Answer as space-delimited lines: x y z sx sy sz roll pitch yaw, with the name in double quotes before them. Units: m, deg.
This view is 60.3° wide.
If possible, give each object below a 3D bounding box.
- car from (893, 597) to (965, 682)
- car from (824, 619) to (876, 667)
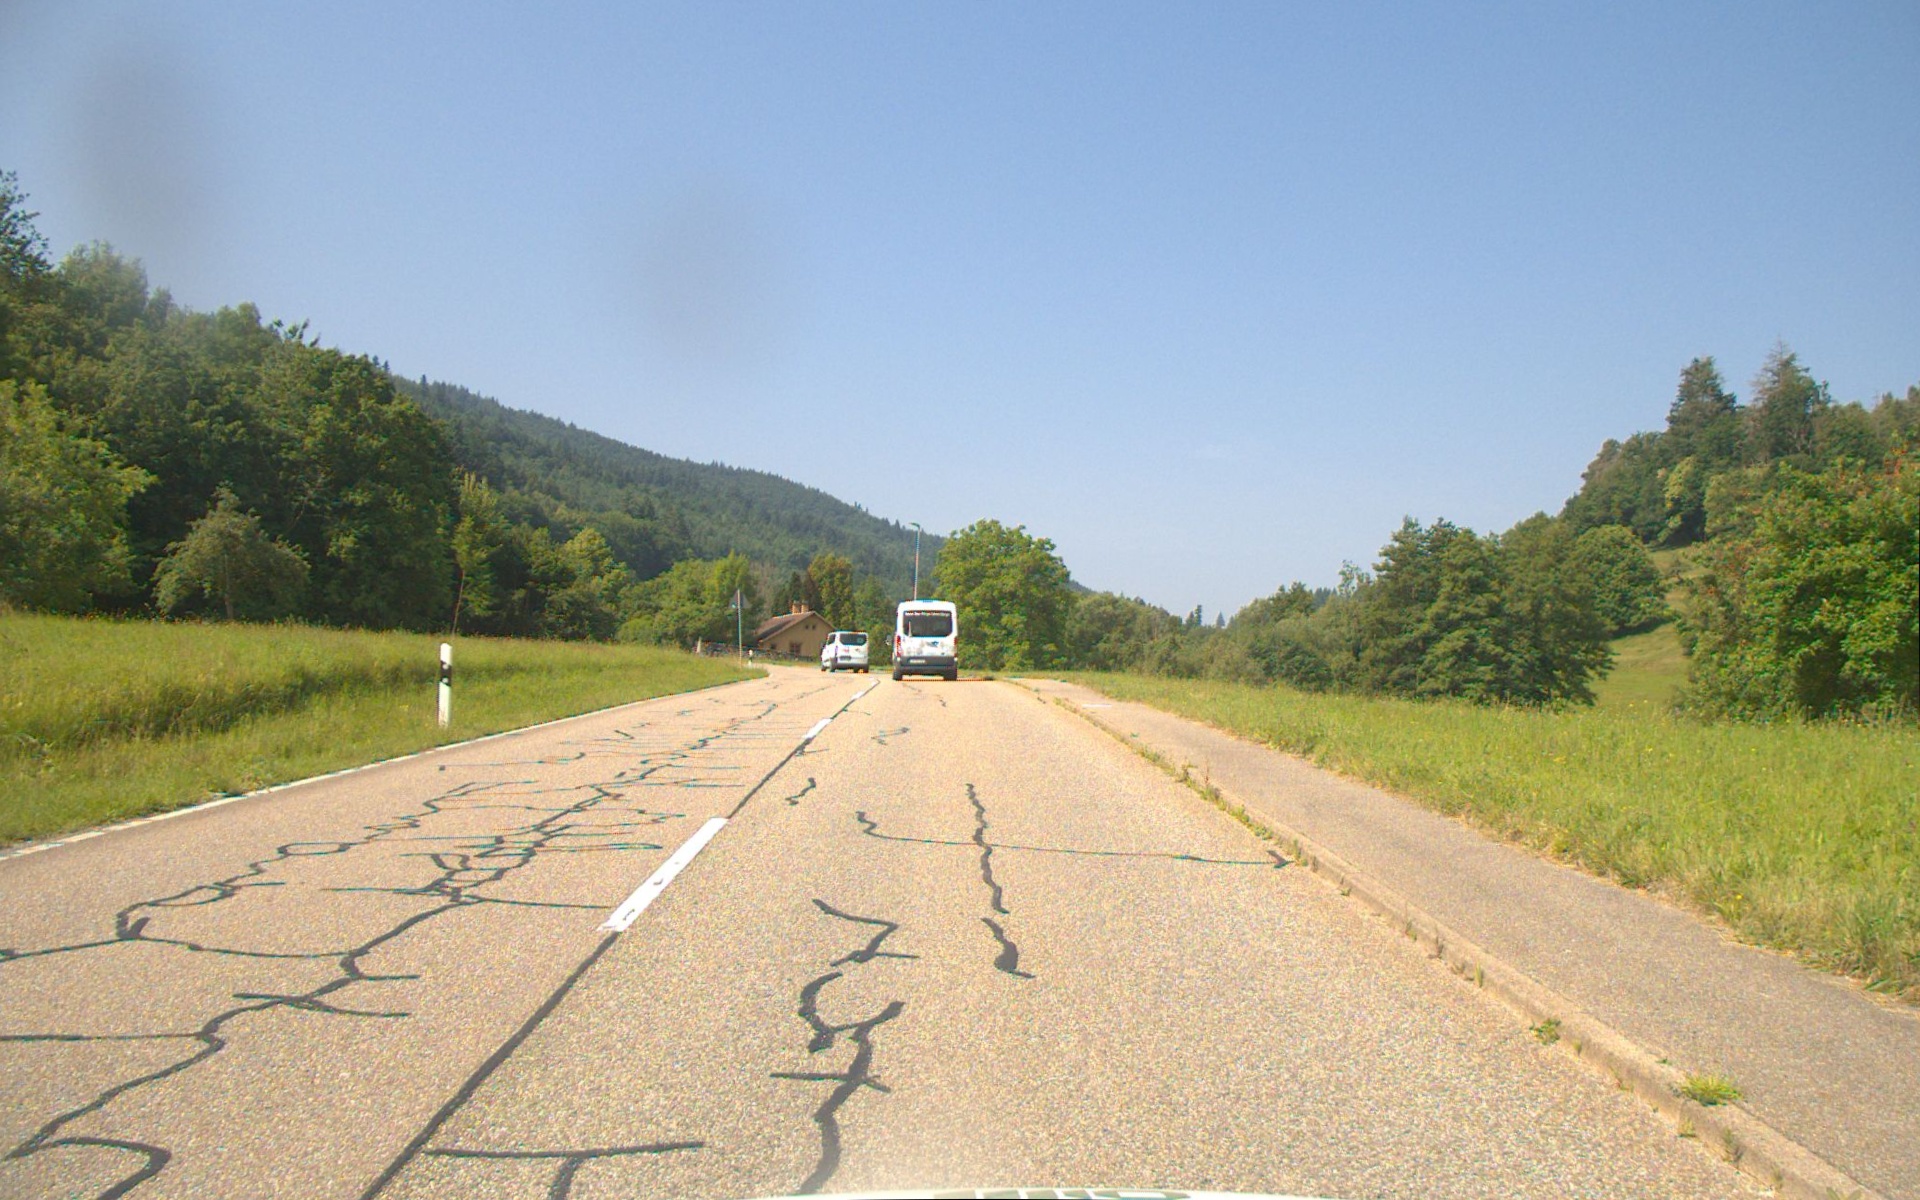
"car" -1.023 1.298 53.817 2.177 2.570 4.982 -2 -2 -1
"car" -5.620 2.210 83.974 2.181 2.327 4.973 -1 -2 -9
